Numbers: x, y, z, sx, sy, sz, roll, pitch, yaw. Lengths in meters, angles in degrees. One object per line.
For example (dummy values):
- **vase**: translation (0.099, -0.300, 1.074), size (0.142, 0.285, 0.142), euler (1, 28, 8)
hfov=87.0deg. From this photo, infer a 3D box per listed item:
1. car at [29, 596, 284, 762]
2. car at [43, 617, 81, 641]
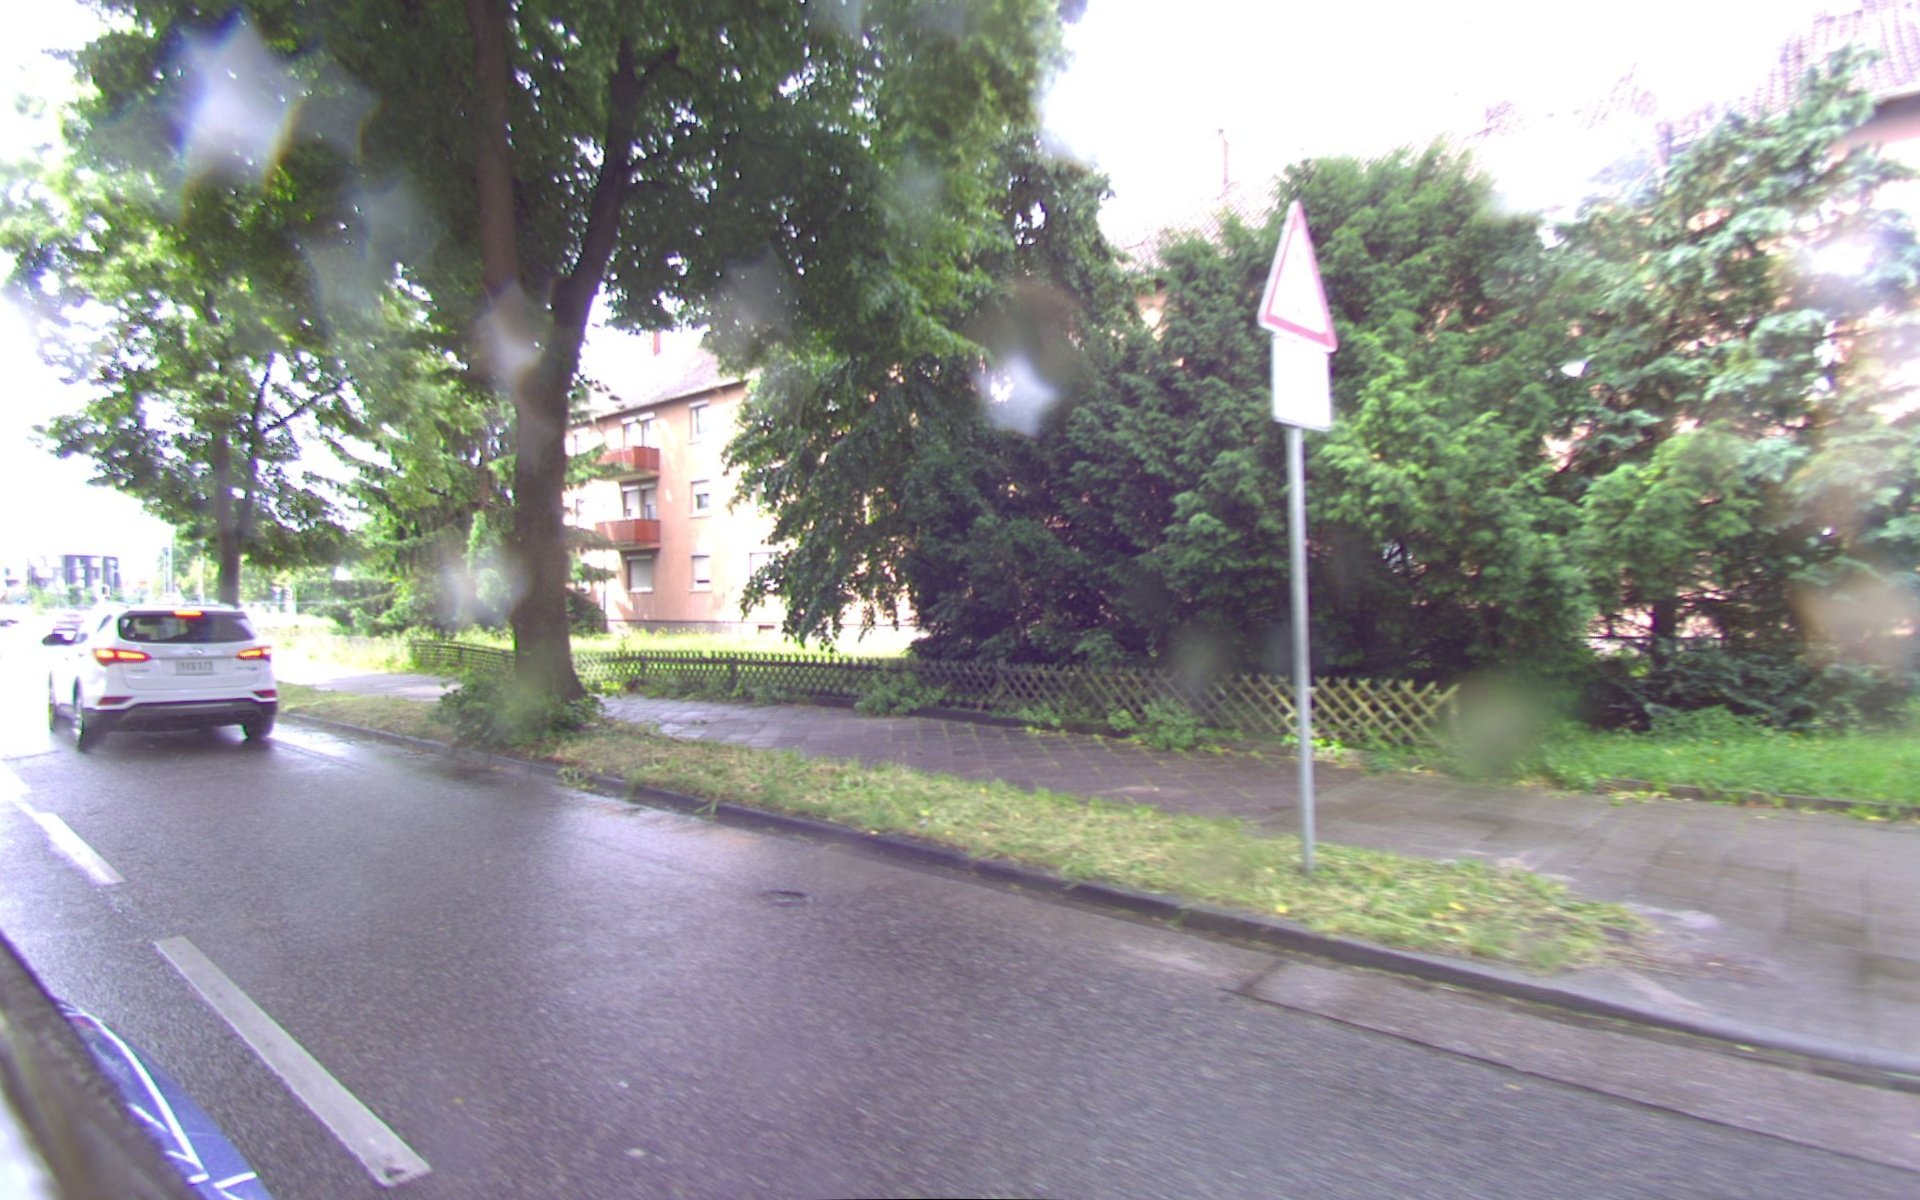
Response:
- **car**: translation (-10.181, 0.858, 12.707), size (4.229, 1.726, 1.866), euler (-1, -1, 43)
- **car**: translation (-59.062, 1.871, 66.559), size (3.795, 1.519, 1.661), euler (-1, -1, 45)
